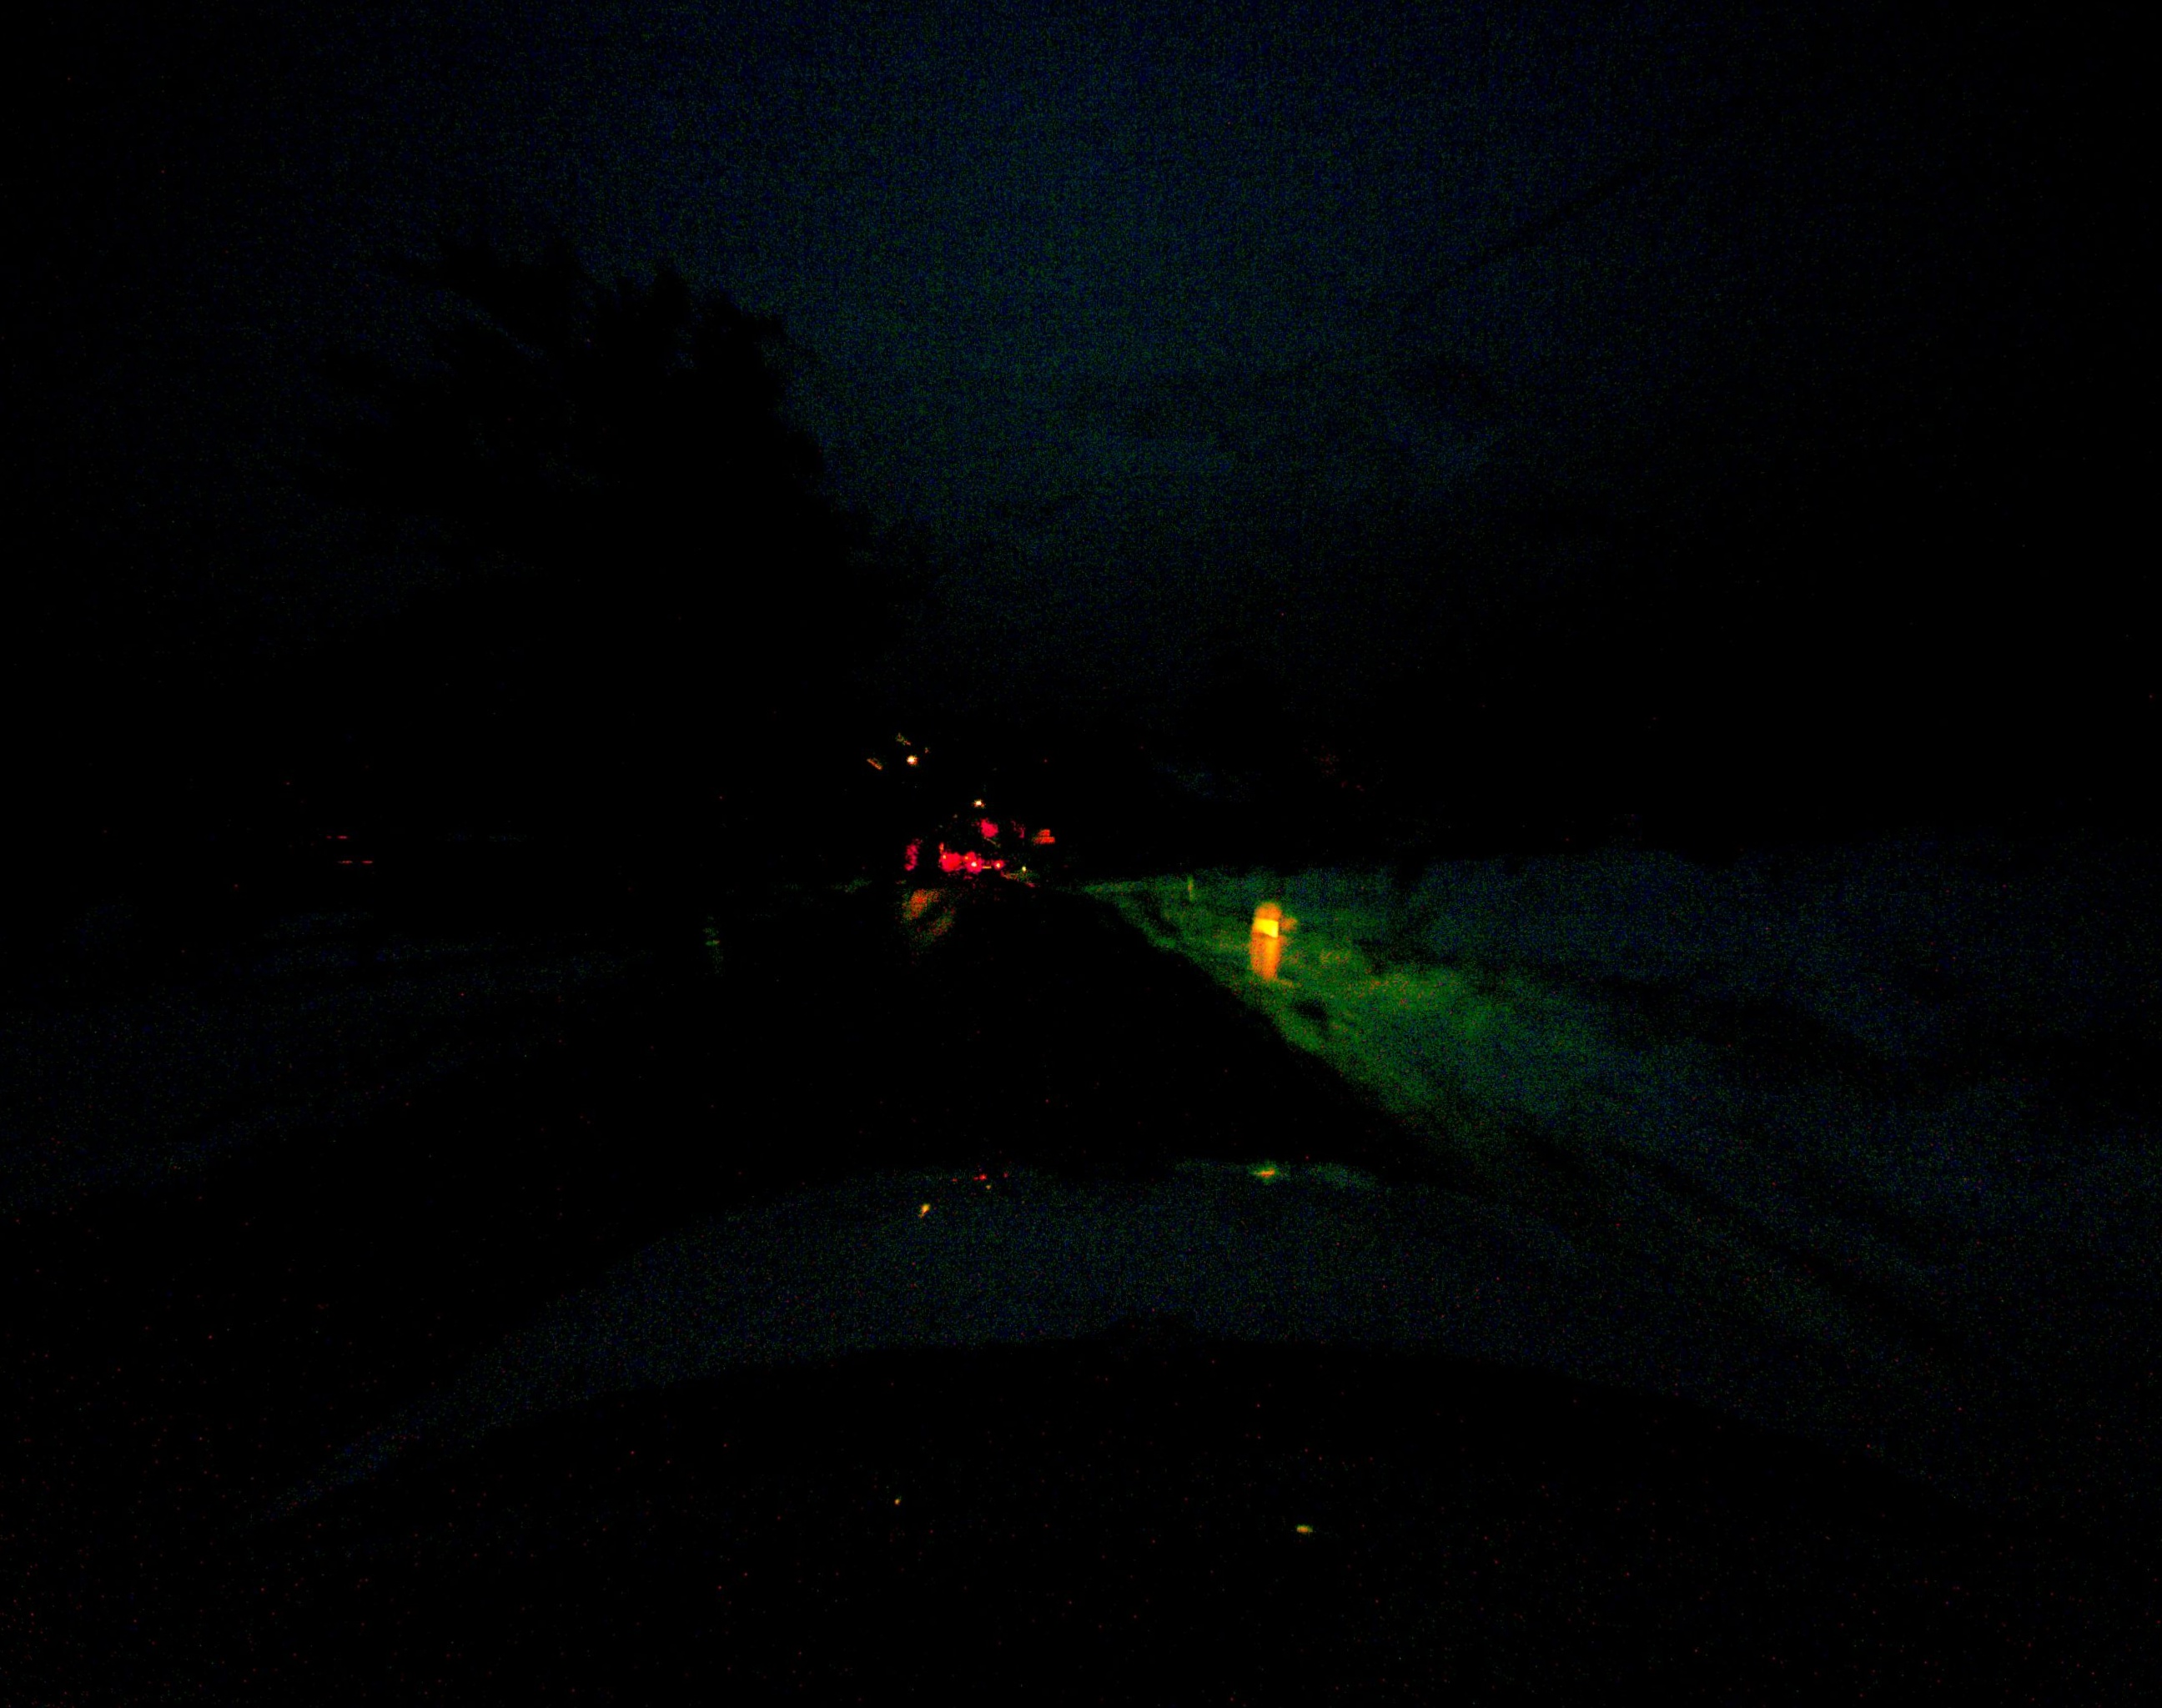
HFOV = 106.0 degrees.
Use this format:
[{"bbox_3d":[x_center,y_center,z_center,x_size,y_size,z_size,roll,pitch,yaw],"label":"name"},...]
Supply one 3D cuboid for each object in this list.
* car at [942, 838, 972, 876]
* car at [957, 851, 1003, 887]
[{"bbox_3d":[-10.451,0.292,68.756,2.434,3.019,5.308,0,-1,-9],"label":"car"},{"bbox_3d":[-5.692,0.781,45.451,2.274,1.840,4.990,-1,0,-10],"label":"car"}]
